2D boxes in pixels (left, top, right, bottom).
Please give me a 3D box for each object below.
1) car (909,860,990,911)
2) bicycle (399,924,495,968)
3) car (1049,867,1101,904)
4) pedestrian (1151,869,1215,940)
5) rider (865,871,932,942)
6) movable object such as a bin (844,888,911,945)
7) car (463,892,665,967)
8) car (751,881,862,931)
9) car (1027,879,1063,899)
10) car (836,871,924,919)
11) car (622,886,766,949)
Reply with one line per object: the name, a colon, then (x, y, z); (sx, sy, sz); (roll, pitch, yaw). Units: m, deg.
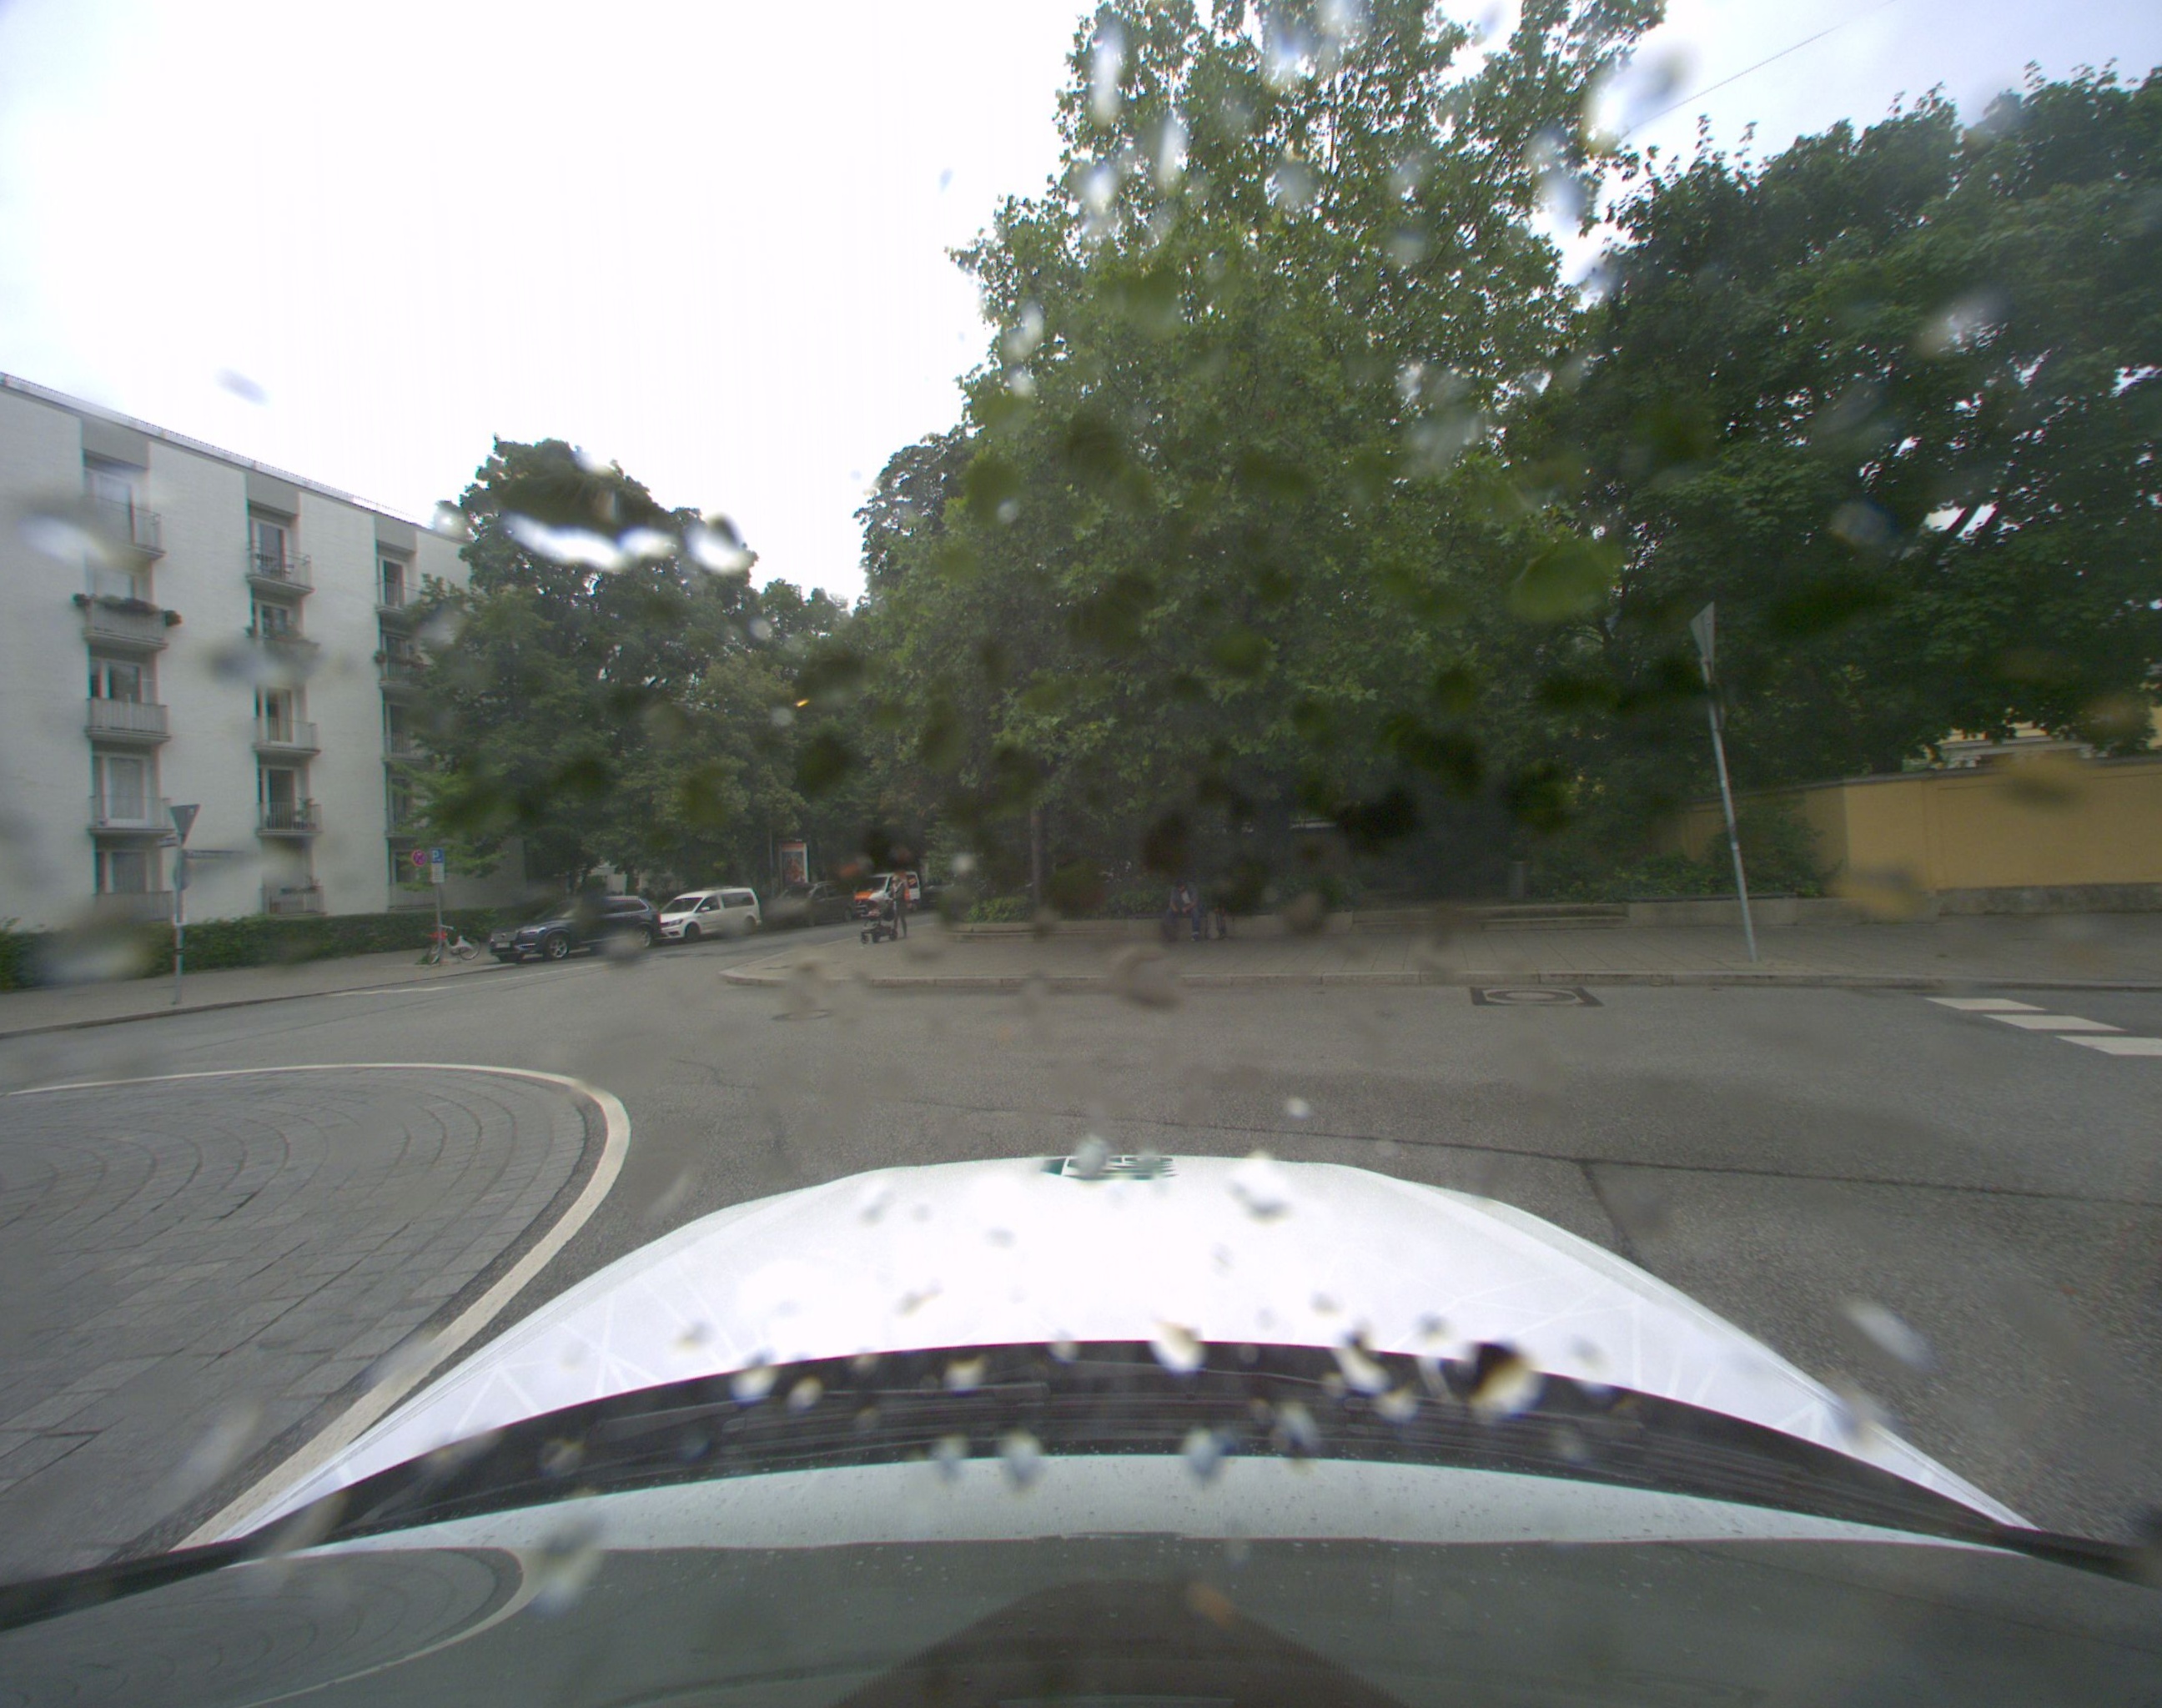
car: (-8.262, 1.938, 52.092); (2.317, 2.922, 6.607); (-4, -2, 16)
bicycle: (-18.066, 2.610, 23.262); (0.904, 1.051, 1.980); (-4, -2, 17)
car: (-0.287, 1.774, 47.202); (2.028, 1.922, 4.459); (-4, -1, 11)
pedestrian: (1.843, 0.891, 14.622); (0.804, 1.189, 0.925); (-4, -2, 27)
rider: (-4.709, 1.342, 21.077); (1.072, 1.667, 1.146); (-7, -3, 29)
movable object such as a bin: (-5.080, 1.545, 20.358); (1.068, 1.267, 1.093); (-7, -3, 29)
car: (-15.237, 2.173, 24.410); (2.049, 1.767, 4.928); (-4, -2, 16)
car: (-12.000, 2.248, 36.018); (2.049, 1.859, 5.008); (-4, -2, 16)
car: (-3.108, 3.043, 71.127); (1.881, 1.571, 4.091); (-4, -2, 15)
car: (-10.533, 2.114, 43.128); (2.094, 2.251, 5.217); (-4, -2, 16)
car: (-13.900, 2.227, 29.625); (1.911, 1.895, 4.887); (-4, -2, 15)
